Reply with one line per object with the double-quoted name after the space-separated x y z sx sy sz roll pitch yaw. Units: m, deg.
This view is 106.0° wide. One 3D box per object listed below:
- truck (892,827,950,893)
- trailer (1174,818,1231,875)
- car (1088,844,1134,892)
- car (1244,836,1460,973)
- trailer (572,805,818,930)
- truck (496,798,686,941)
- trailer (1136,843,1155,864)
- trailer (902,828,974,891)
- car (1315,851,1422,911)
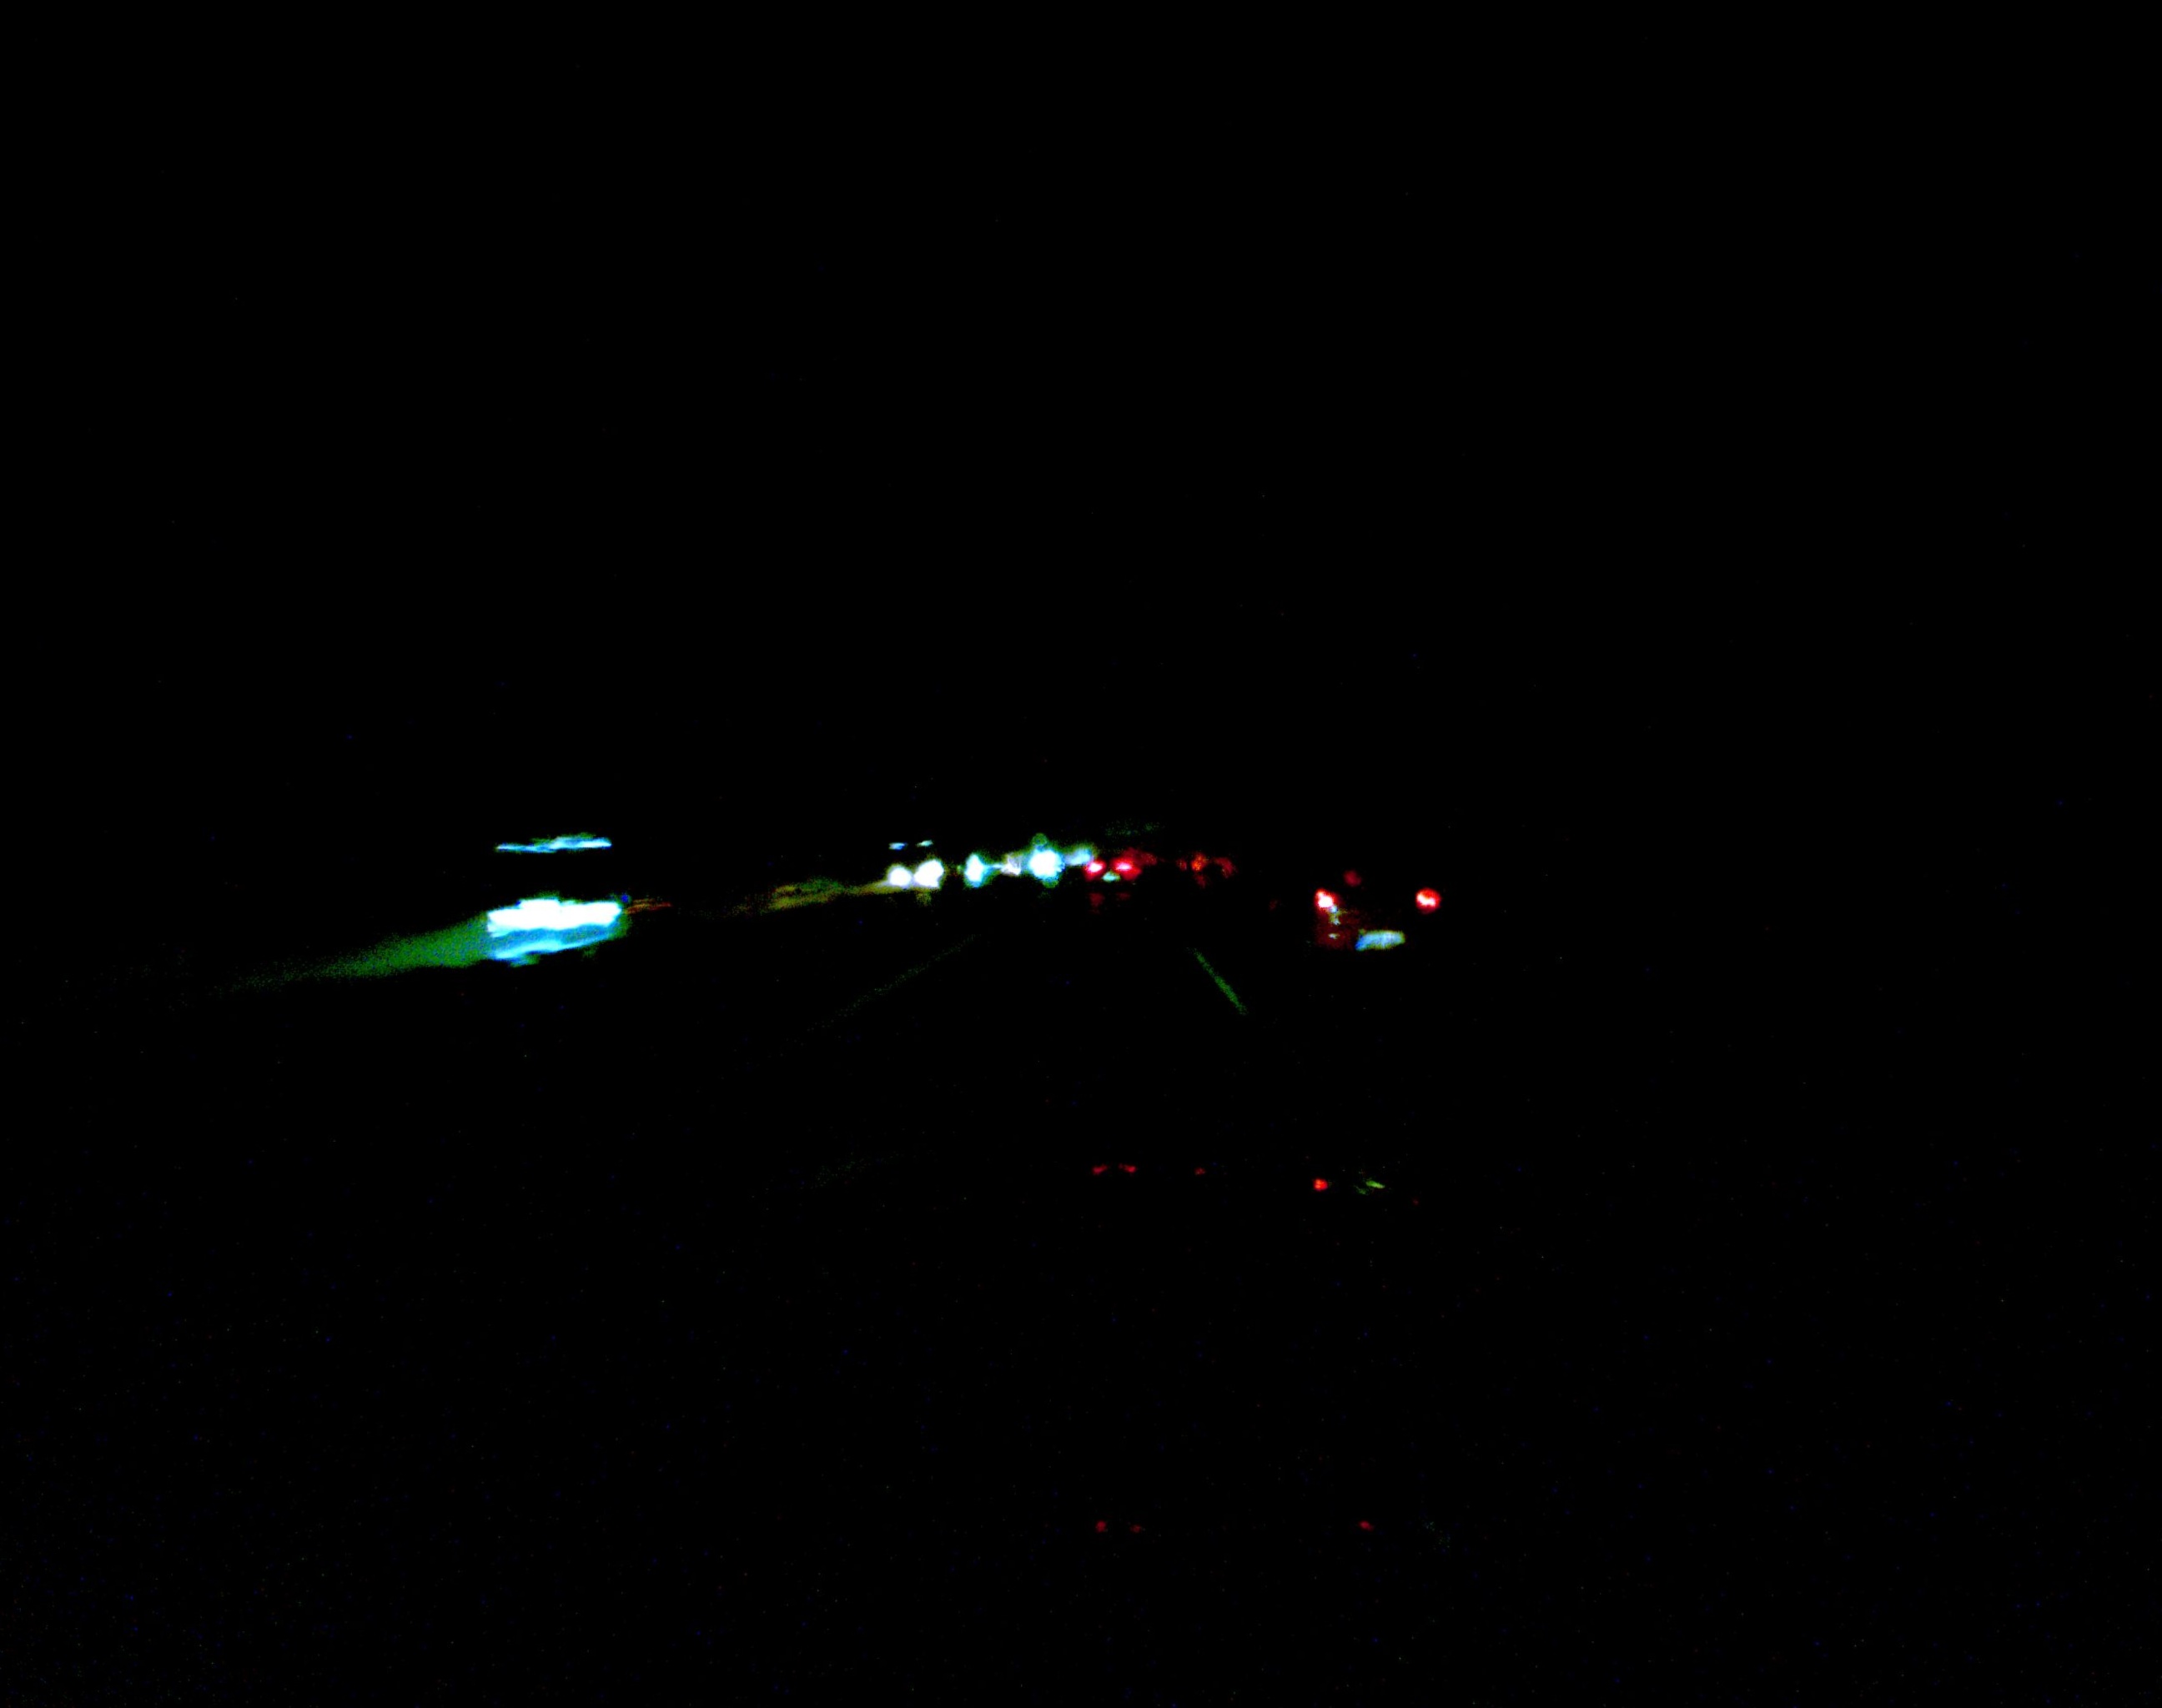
-11.092 0.396 56.925 2.680 4.381 5.737 0 0 2 "truck"
9.930 -0.460 68.260 2.892 4.109 14.493 -3 -1 2 "trailer"
1.324 0.613 37.189 1.986 2.014 4.001 -1 0 1 "car"
3.650 0.642 11.885 1.734 1.575 4.495 -1 -1 2 "car"
-15.614 0.501 35.420 2.680 4.221 15.651 0 0 2 "trailer"
-15.958 0.470 27.076 2.680 4.221 5.738 0 0 2 "truck"
14.279 0.019 181.158 3.031 4.109 13.827 -3 -2 1 "trailer"
-10.889 0.424 63.868 2.681 4.378 14.635 0 0 1 "trailer"
8.130 0.717 23.396 1.634 1.503 4.013 -2 0 0 "car"
